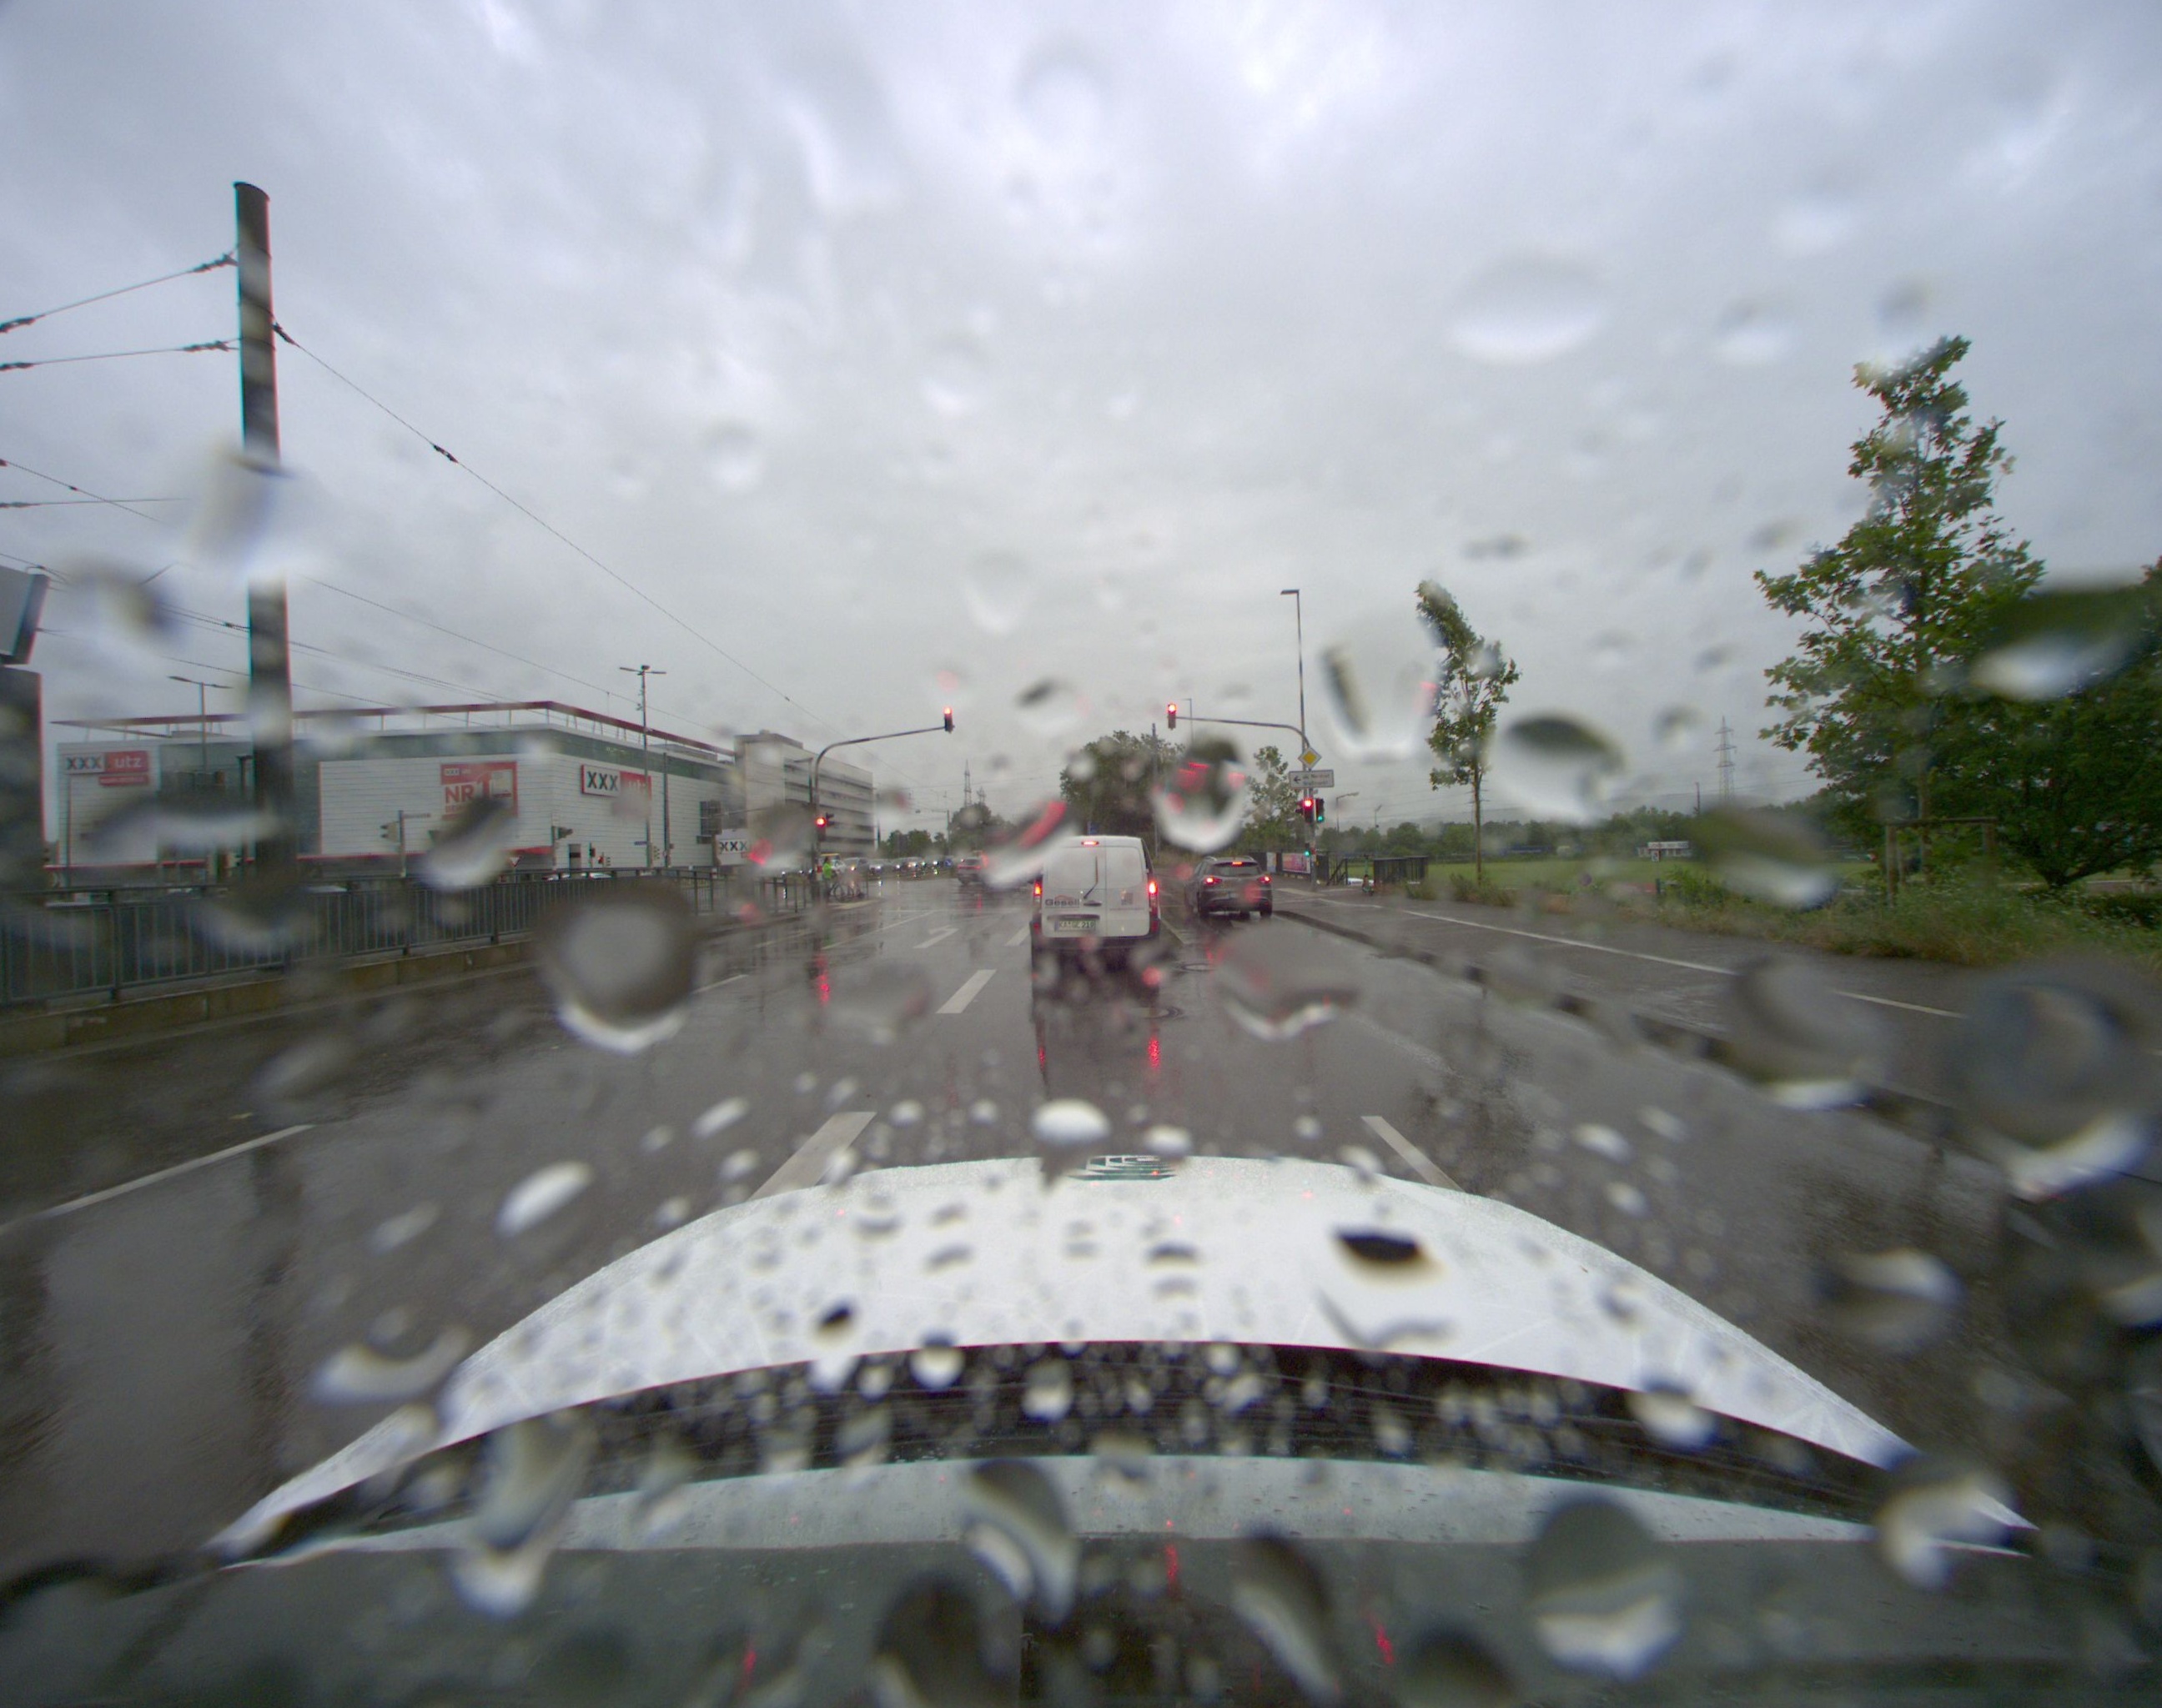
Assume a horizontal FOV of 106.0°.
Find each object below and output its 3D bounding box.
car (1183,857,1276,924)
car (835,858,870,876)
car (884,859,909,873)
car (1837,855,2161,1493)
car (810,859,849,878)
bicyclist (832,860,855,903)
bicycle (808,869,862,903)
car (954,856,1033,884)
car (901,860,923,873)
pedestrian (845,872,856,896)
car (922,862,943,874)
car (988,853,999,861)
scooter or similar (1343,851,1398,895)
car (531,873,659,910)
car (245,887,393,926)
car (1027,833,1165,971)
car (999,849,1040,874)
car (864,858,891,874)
[{"bbox_3d":[3.610,0.834,20.433,1.678,1.508,3.921,0,0,1],"label":"car"},{"bbox_3d":[-19.186,1.092,68.492,1.704,1.426,3.810,1,-1,2],"label":"car"},{"bbox_3d":[-18.727,1.247,82.805,1.554,1.426,3.570,1,-1,2],"label":"car"},{"bbox_3d":[3.125,0.671,0.677,1.592,1.366,3.630,-2,-1,0],"label":"car"},{"bbox_3d":[-19.282,1.107,62.583,1.704,1.426,3.810,1,-1,2],"label":"car"},{"bbox_3d":[-8.395,0.950,28.740,0.608,1.491,0.593,0,-1,-39],"label":"bicyclist"},{"bbox_3d":[-8.604,1.123,28.561,1.768,1.137,0.514,0,-1,-41],"label":"bicycle"},{"bbox_3d":[-4.672,0.897,44.149,1.695,1.451,4.224,-1,-2,42],"label":"car"},{"bbox_3d":[-18.459,1.411,89.289,1.554,1.426,3.570,1,-1,2],"label":"car"},{"bbox_3d":[-8.677,1.121,30.647,0.314,0.897,0.380,0,0,-1],"label":"pedestrian"},{"bbox_3d":[-17.569,1.647,96.584,1.704,1.426,3.810,1,-1,2],"label":"car"},{"bbox_3d":[-16.535,0.579,153.477,1.554,1.426,3.570,1,-1,2],"label":"car"},{"bbox_3d":[8.671,0.547,24.541,0.687,1.211,3.022,-2,0,3],"label":"scooter or similar"},{"bbox_3d":[-20.659,1.605,34.764,4.257,1.502,1.816,1,-1,-9],"label":"car"},{"bbox_3d":[-31.938,2.181,34.203,4.481,1.502,1.713,1,-1,-1],"label":"car"},{"bbox_3d":[0.142,0.605,12.581,1.749,1.750,4.166,-1,0,-2],"label":"car"},{"bbox_3d":[-4.323,0.575,57.927,1.936,1.662,4.475,0,-2,9],"label":"car"},{"bbox_3d":[-18.900,1.127,75.725,1.554,1.426,3.570,1,-1,2],"label":"car"}]
